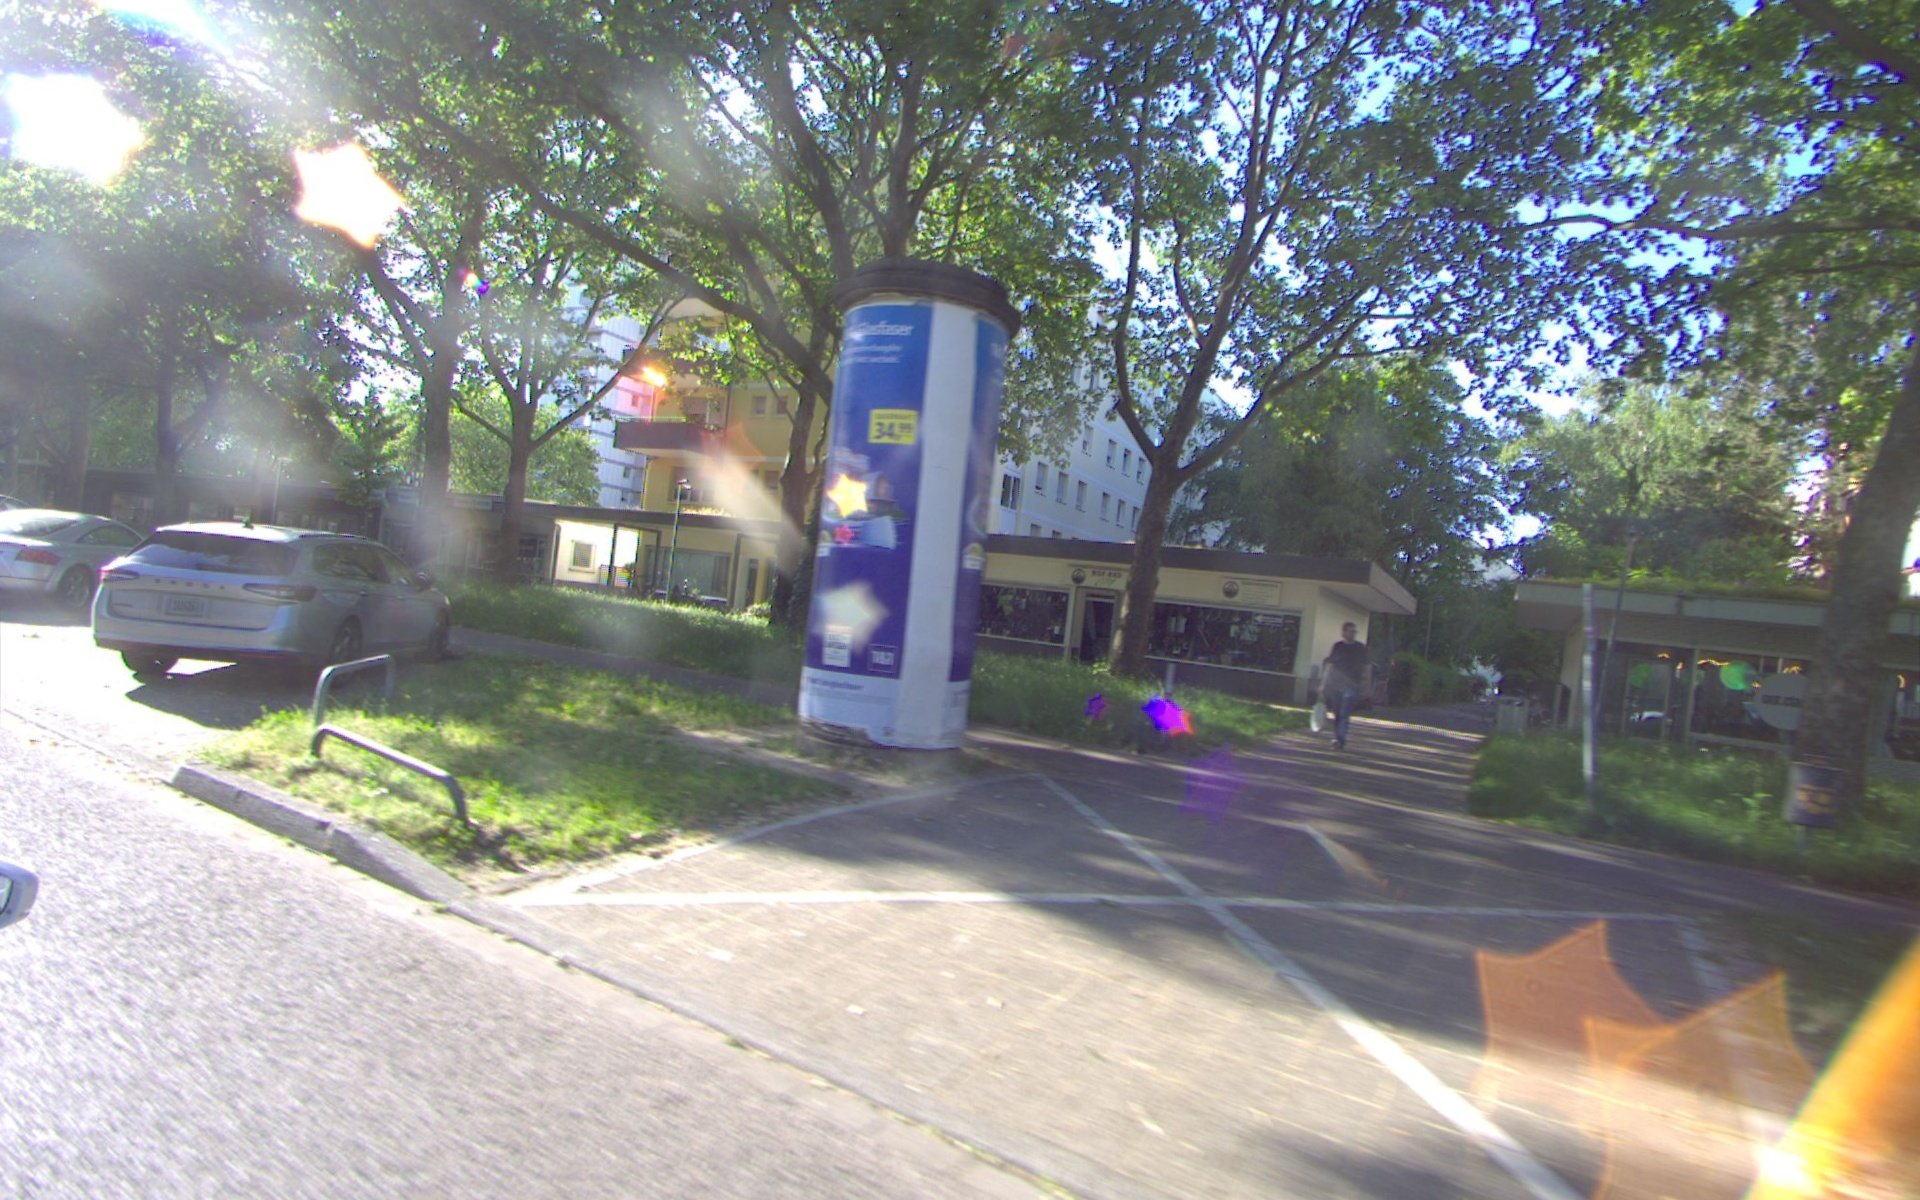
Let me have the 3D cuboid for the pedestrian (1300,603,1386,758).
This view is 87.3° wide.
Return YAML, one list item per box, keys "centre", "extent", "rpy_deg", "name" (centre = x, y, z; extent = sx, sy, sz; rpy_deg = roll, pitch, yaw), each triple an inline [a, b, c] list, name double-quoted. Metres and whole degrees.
- centre: [5.203, 1.073, 13.641]
  extent: [0.855, 1.937, 0.875]
  rpy_deg: [7, 0, 23]
  name: "pedestrian"

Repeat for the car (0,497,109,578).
- centre: [-18.747, -1.247, 19.090]
  extent: [1.887, 1.469, 4.453]
  rpy_deg: [5, 0, -10]
  name: "car"

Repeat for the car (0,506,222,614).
- centre: [-13.100, -0.610, 14.953]
  extent: [1.664, 1.314, 4.319]
  rpy_deg: [6, 0, -11]
  name: "car"

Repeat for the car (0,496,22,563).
- centre: [-21.760, -1.605, 20.416]
  extent: [1.888, 1.469, 4.450]
  rpy_deg: [5, 0, -12]
  name: "car"

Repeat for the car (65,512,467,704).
- centre: [-6.989, 0.040, 10.818]
  extent: [1.826, 1.462, 4.483]
  rpy_deg: [6, 0, -11]
  name: "car"

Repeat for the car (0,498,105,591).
- centre: [-15.905, -0.957, 15.780]
  extent: [1.826, 1.442, 4.319]
  rpy_deg: [6, 0, -11]
  name: "car"
